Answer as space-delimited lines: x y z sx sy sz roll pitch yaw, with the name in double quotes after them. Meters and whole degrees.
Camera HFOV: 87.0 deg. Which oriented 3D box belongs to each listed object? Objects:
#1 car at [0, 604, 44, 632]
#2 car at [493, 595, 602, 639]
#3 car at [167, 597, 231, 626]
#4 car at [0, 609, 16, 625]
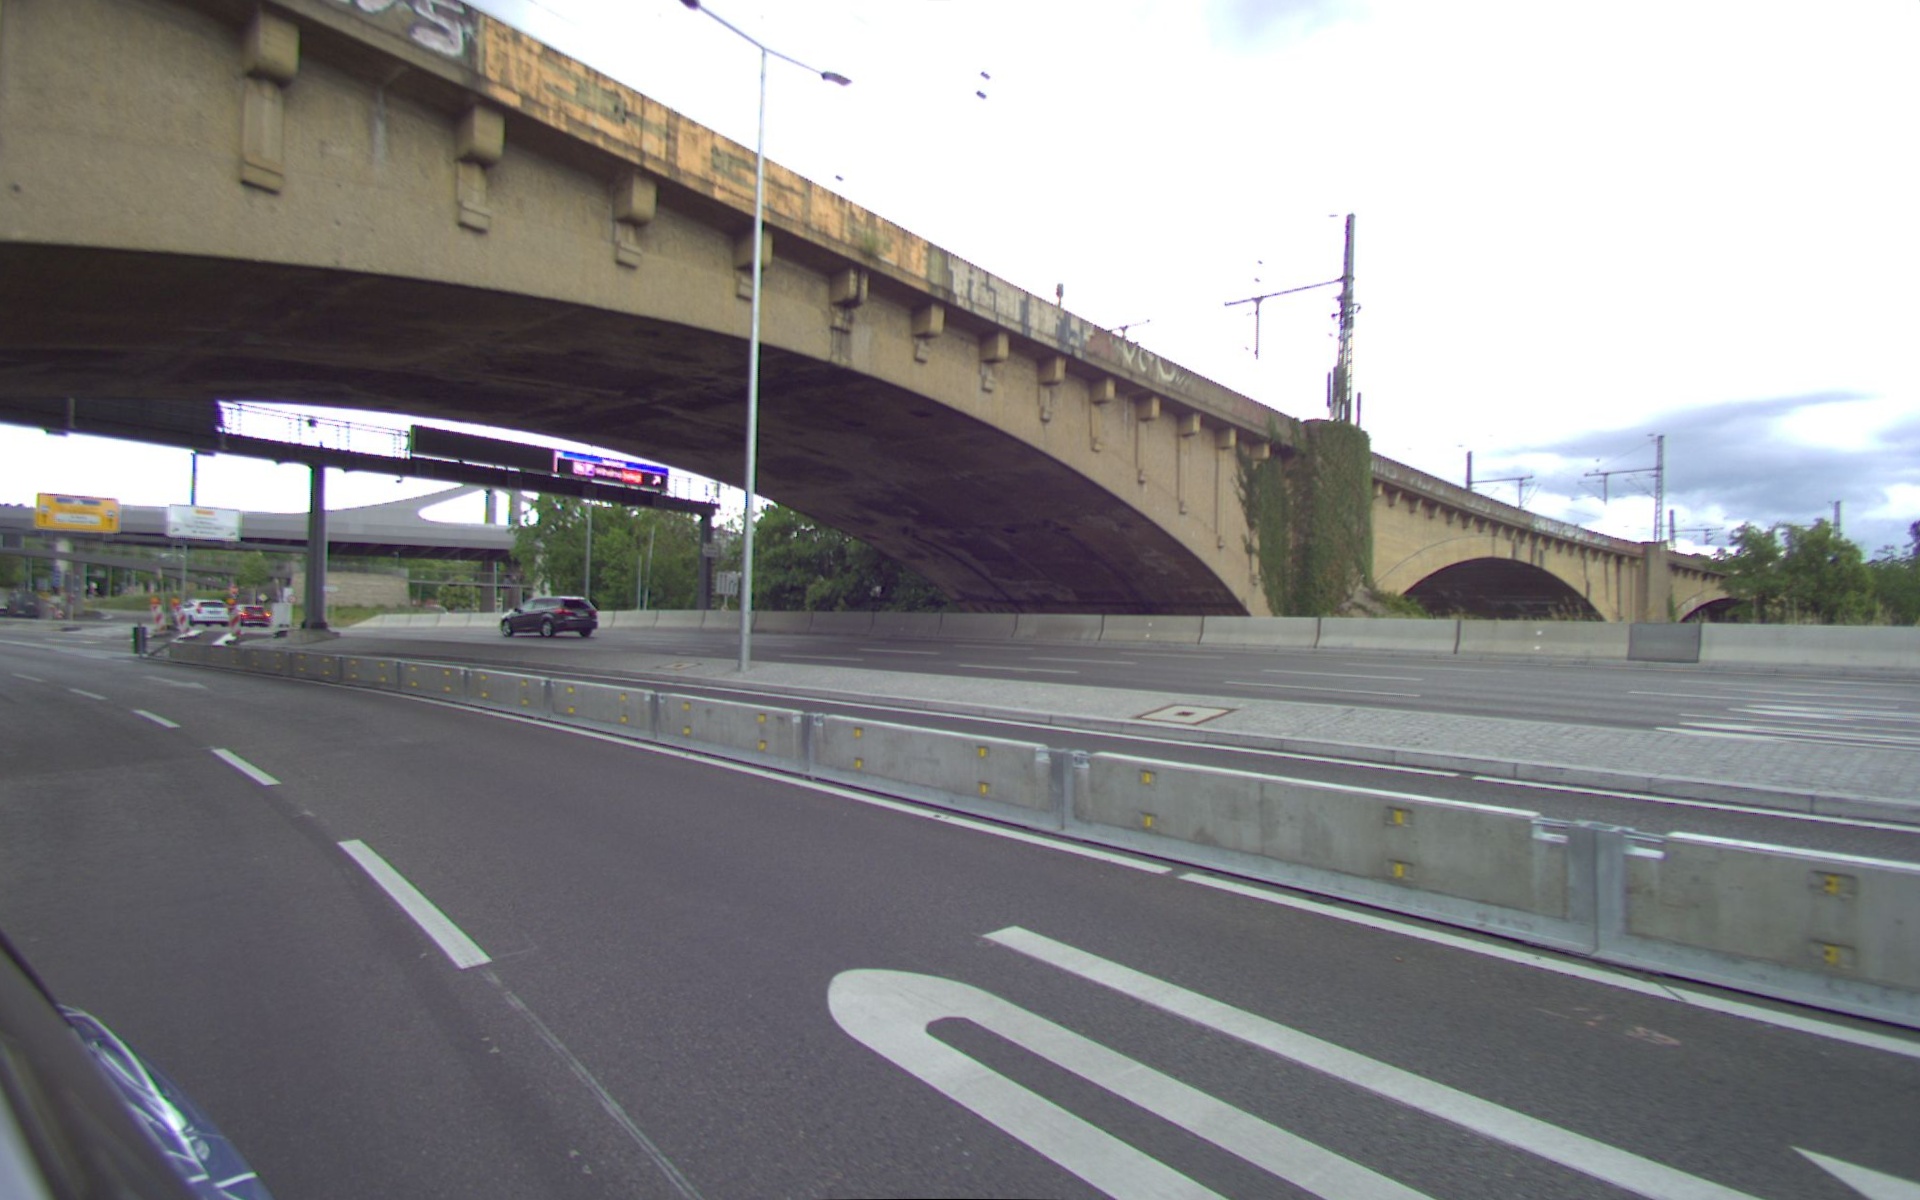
-88.848 1.657 95.690 6.187 2.509 2.268 0 0 38 "car"
-15.487 0.606 37.936 4.393 1.548 1.801 0 0 37 "car"
-43.004 0.634 57.164 4.394 1.548 1.820 0 0 38 "car"
-106.396 1.877 112.247 3.995 1.829 1.974 -1 0 38 "car"
